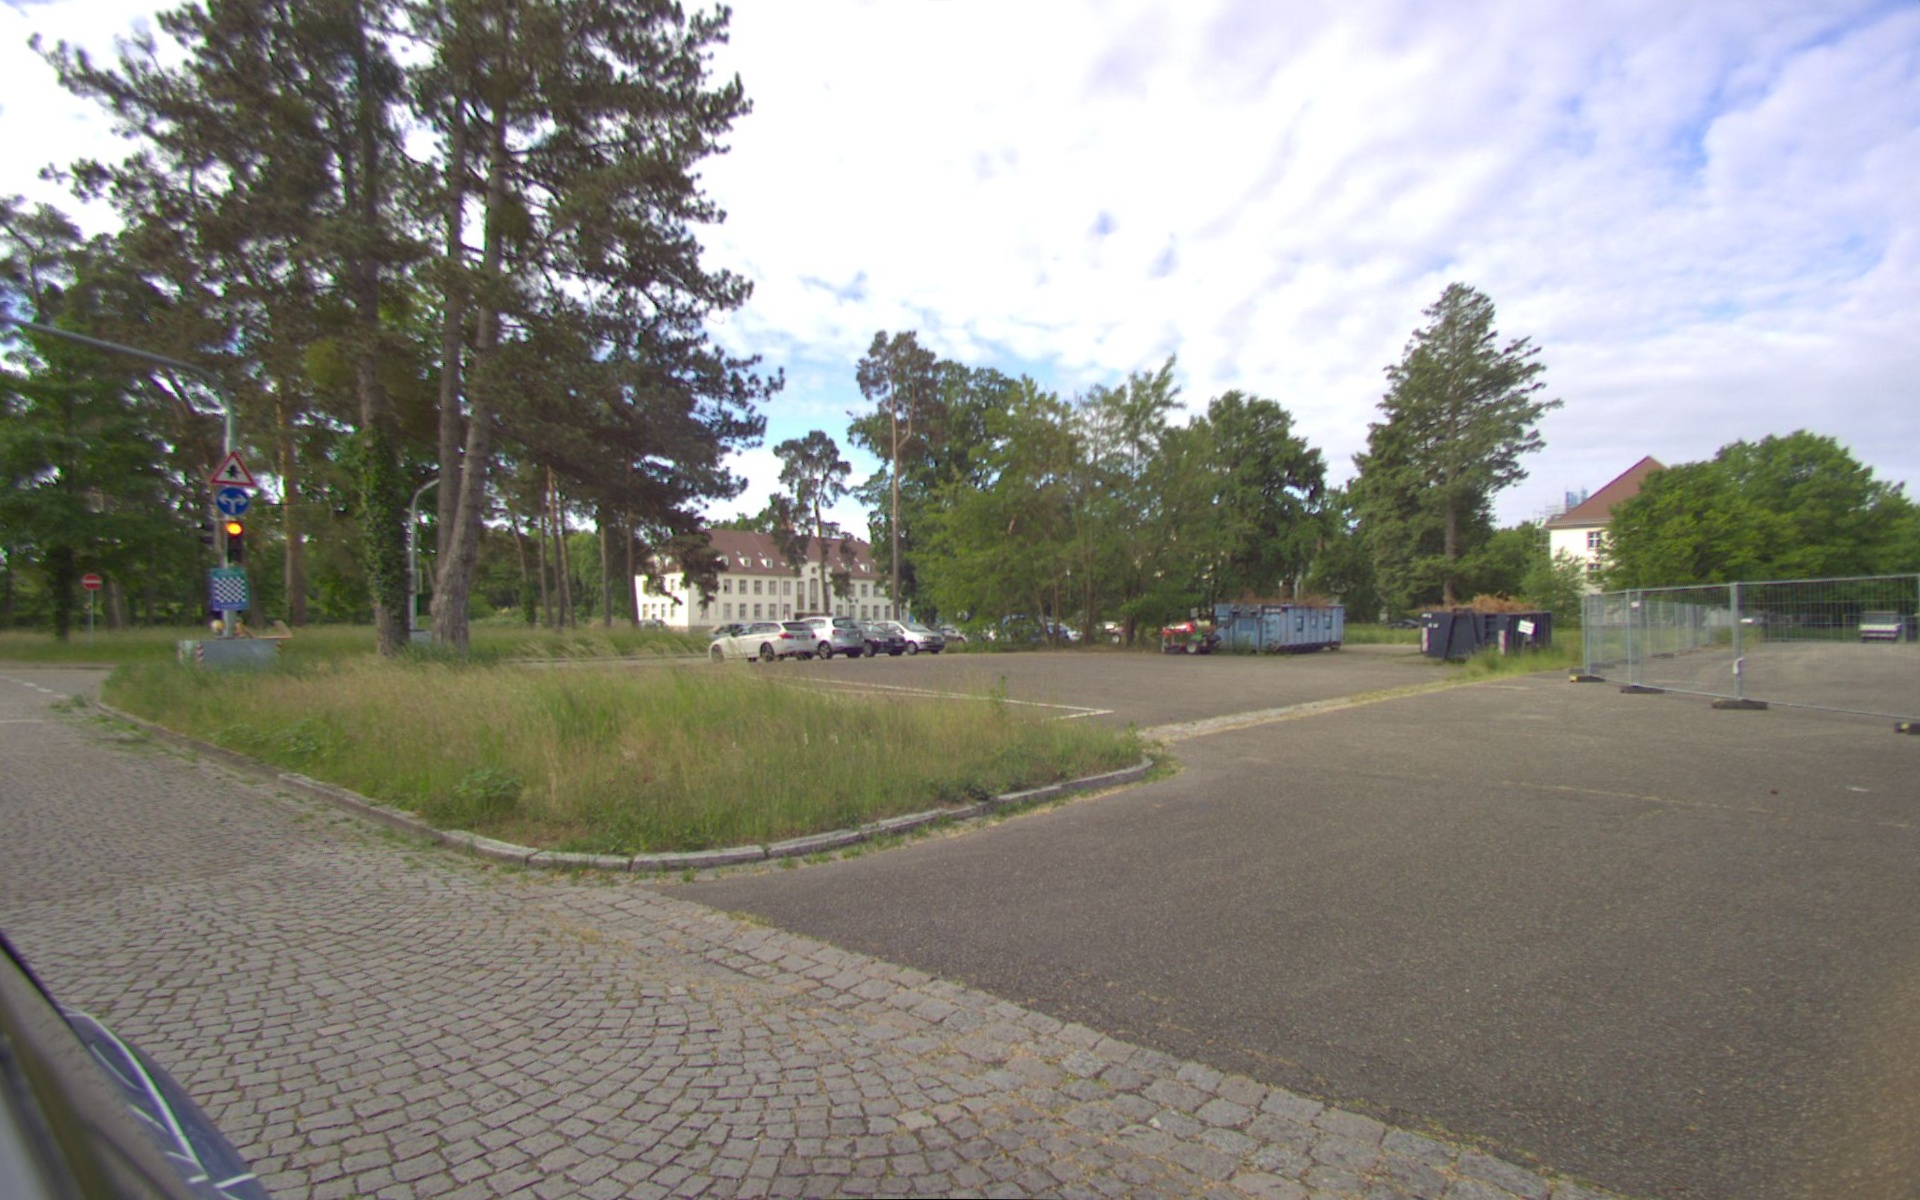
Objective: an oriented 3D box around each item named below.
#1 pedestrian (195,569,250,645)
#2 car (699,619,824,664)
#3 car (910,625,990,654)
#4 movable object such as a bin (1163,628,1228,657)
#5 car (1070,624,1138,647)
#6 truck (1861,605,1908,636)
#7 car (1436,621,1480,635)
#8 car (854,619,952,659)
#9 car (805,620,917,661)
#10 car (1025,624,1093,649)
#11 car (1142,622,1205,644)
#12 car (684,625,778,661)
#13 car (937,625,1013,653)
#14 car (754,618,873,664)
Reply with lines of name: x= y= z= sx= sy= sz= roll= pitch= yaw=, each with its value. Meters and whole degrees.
pedestrian: x=-15.235 y=0.157 z=20.926 sx=0.869 sy=1.529 sz=0.824 roll=1 pitch=-2 yaw=-34
car: x=-7.122 y=1.503 z=36.101 sx=4.650 sy=1.461 sz=1.817 roll=-4 pitch=-3 yaw=39
car: x=-0.622 y=2.354 z=60.053 sx=4.580 sy=1.571 sz=1.817 roll=-4 pitch=-3 yaw=39
movable object such as a bin: x=8.044 y=1.441 z=34.574 sx=1.931 sy=0.940 sz=1.029 roll=-2 pitch=-3 yaw=35
car: x=10.365 y=2.578 z=73.124 sx=4.580 sy=1.533 sz=1.817 roll=-4 pitch=-3 yaw=39
truck: x=68.591 y=1.546 z=75.168 sx=2.373 sy=2.215 sz=6.465 roll=-2 pitch=-2 yaw=41
car: x=61.446 y=3.443 z=124.922 sx=4.580 sy=1.645 sz=1.817 roll=-2 pitch=-2 yaw=39
car: x=-2.424 y=1.657 z=42.501 sx=4.112 sy=1.533 sz=1.714 roll=-4 pitch=-3 yaw=42
car: x=-4.005 y=1.624 z=40.277 sx=4.583 sy=1.480 sz=1.815 roll=-4 pitch=-3 yaw=42
car: x=6.622 y=2.466 z=68.172 sx=4.284 sy=1.533 sz=1.727 roll=-4 pitch=-3 yaw=39
car: x=17.001 y=2.635 z=80.792 sx=4.580 sy=1.533 sz=1.817 roll=-4 pitch=-3 yaw=39
car: x=-11.104 y=2.081 z=48.928 sx=4.572 sy=1.559 sz=1.820 roll=-4 pitch=-3 yaw=34
car: x=0.882 y=2.410 z=62.702 sx=4.580 sy=1.586 sz=1.817 roll=-4 pitch=-3 yaw=39
car: x=-5.563 y=1.570 z=38.163 sx=4.580 sy=1.590 sz=1.817 roll=-4 pitch=-3 yaw=39
